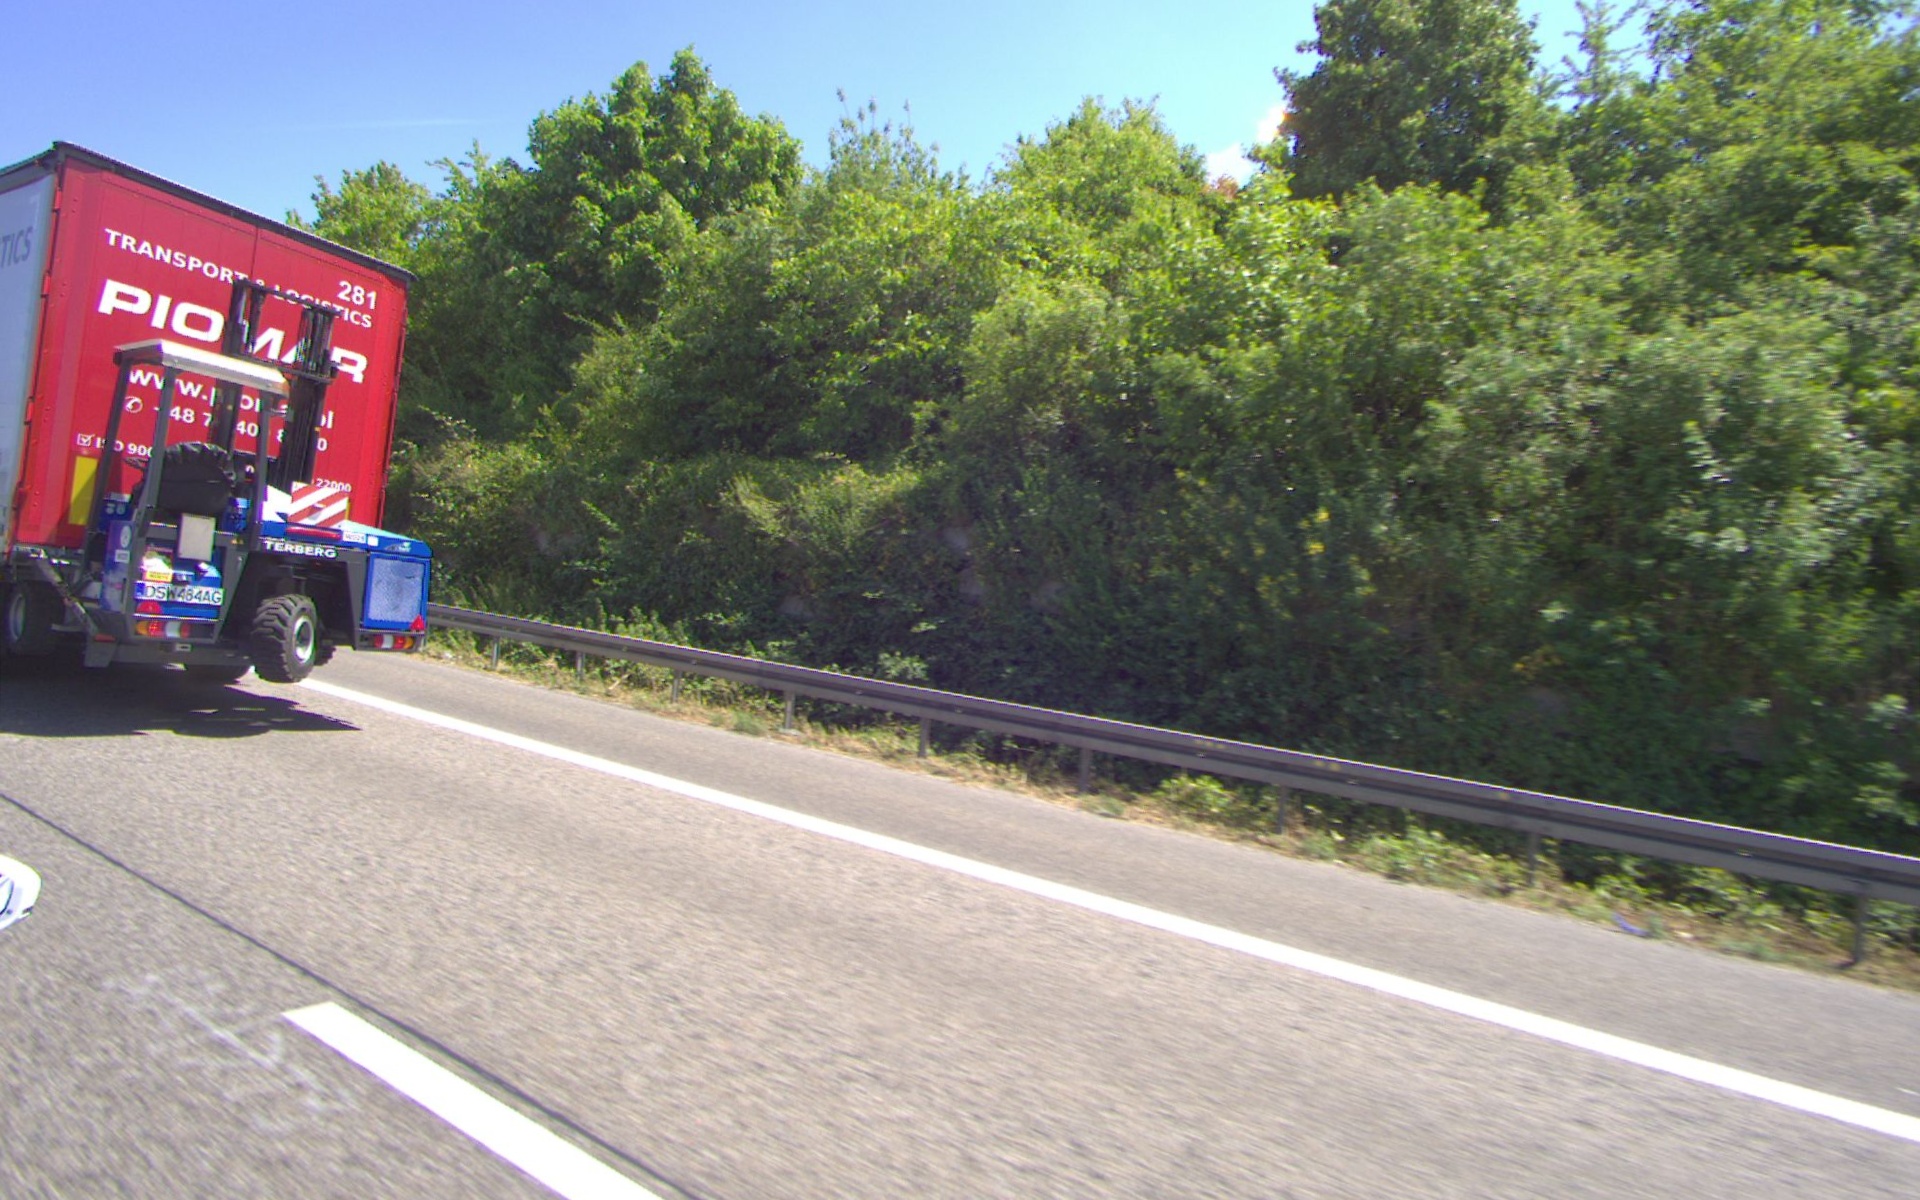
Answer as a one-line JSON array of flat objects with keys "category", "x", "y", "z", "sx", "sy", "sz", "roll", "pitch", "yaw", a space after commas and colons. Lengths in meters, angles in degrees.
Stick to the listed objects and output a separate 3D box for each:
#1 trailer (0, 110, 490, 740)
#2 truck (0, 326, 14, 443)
[{"category": "trailer", "x": -10.726, "y": -1.630, "z": 11.002, "sx": 14.009, "sy": 3.956, "sz": 2.494, "roll": 6, "pitch": -1, "yaw": 32}, {"category": "truck", "x": -17.262, "y": -2.316, "z": 15.036, "sx": 6.979, "sy": 3.966, "sz": 2.503, "roll": 6, "pitch": -1, "yaw": 31}]
